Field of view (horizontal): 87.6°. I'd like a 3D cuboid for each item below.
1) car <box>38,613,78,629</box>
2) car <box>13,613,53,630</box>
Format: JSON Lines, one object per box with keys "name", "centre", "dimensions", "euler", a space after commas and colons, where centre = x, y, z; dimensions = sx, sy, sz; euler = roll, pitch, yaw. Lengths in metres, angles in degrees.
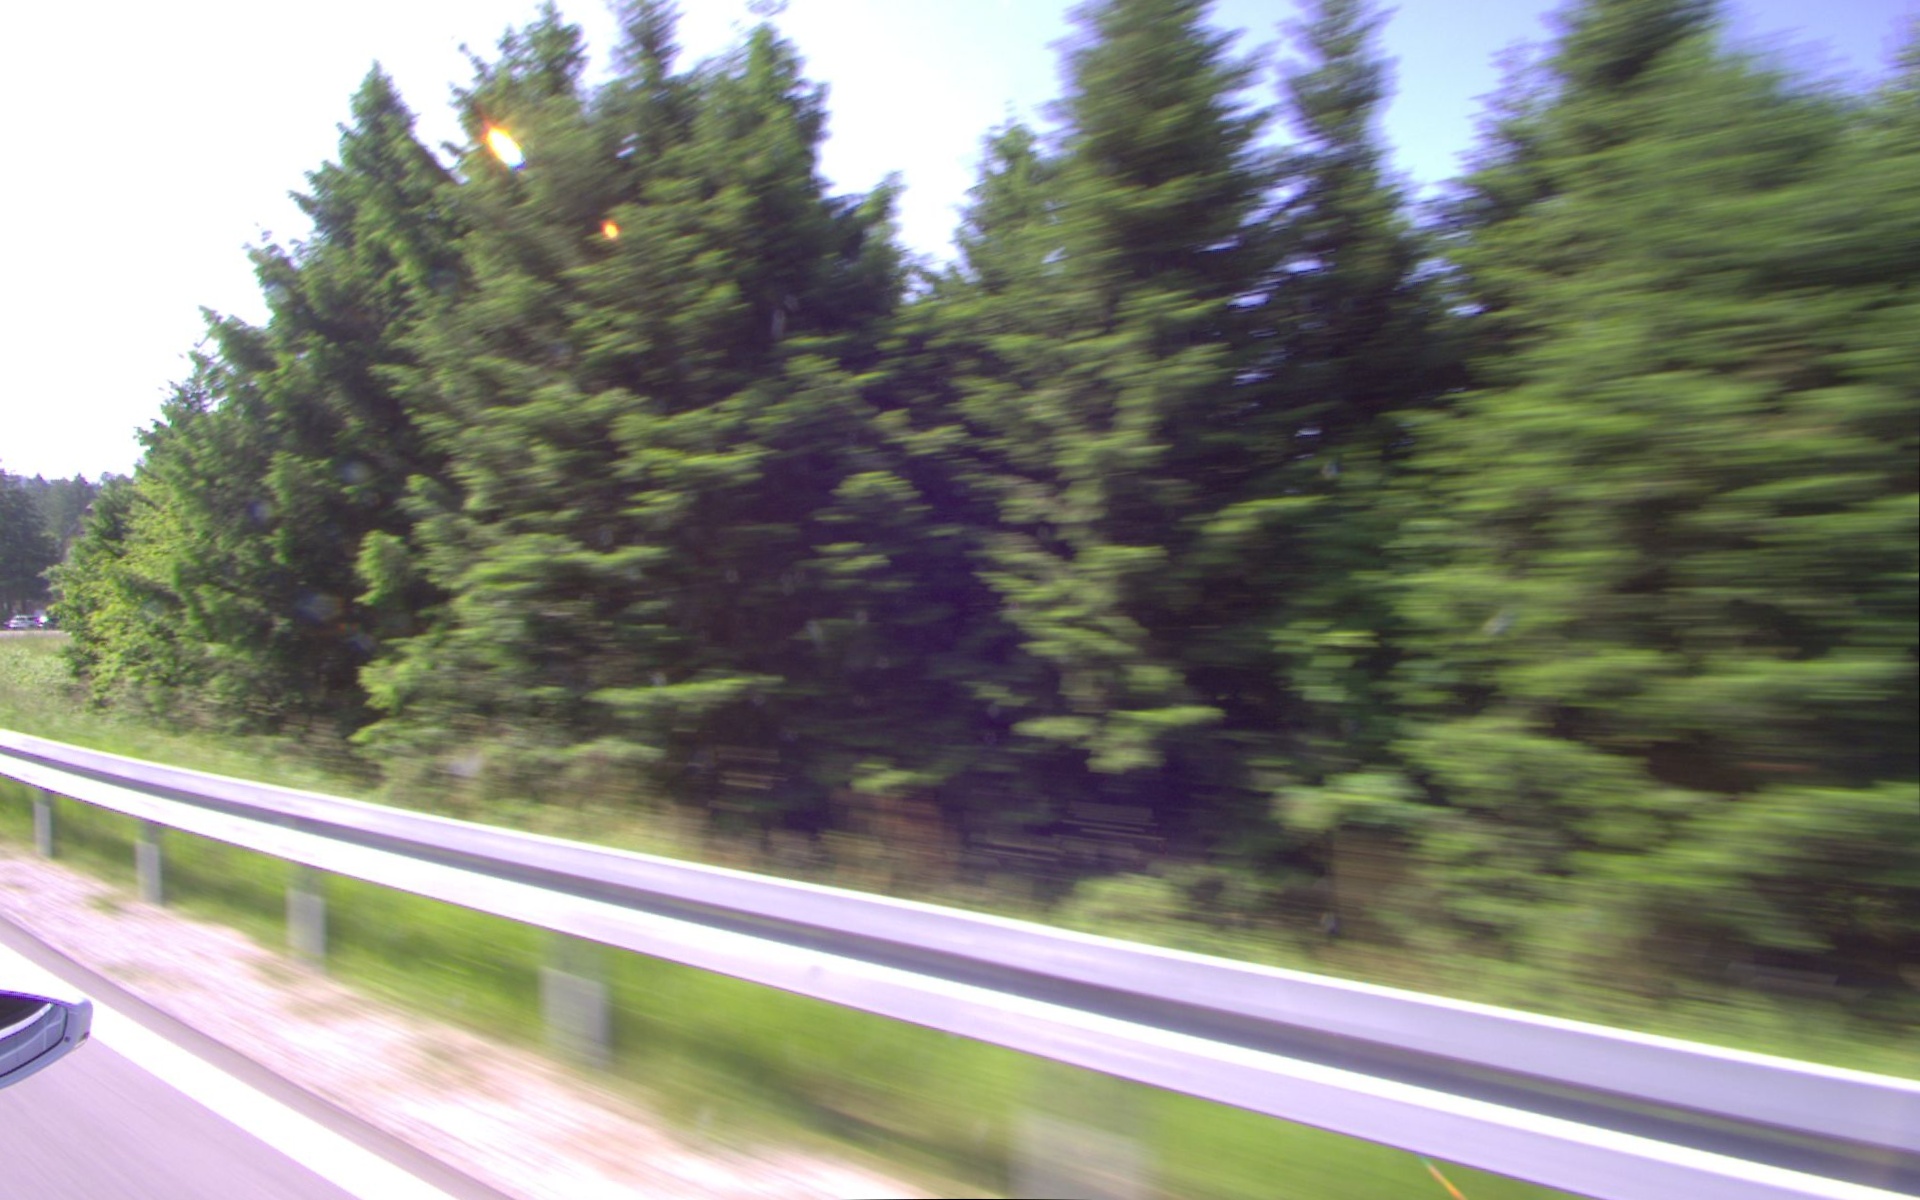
{"name": "car", "centre": [-99.591, 2.303, 110.585], "dimensions": [1.863, 1.670, 4.280], "euler": [-2, 1, -23]}
{"name": "car", "centre": [-102.054, 2.353, 110.314], "dimensions": [1.830, 1.693, 4.369], "euler": [-2, 1, -23]}
